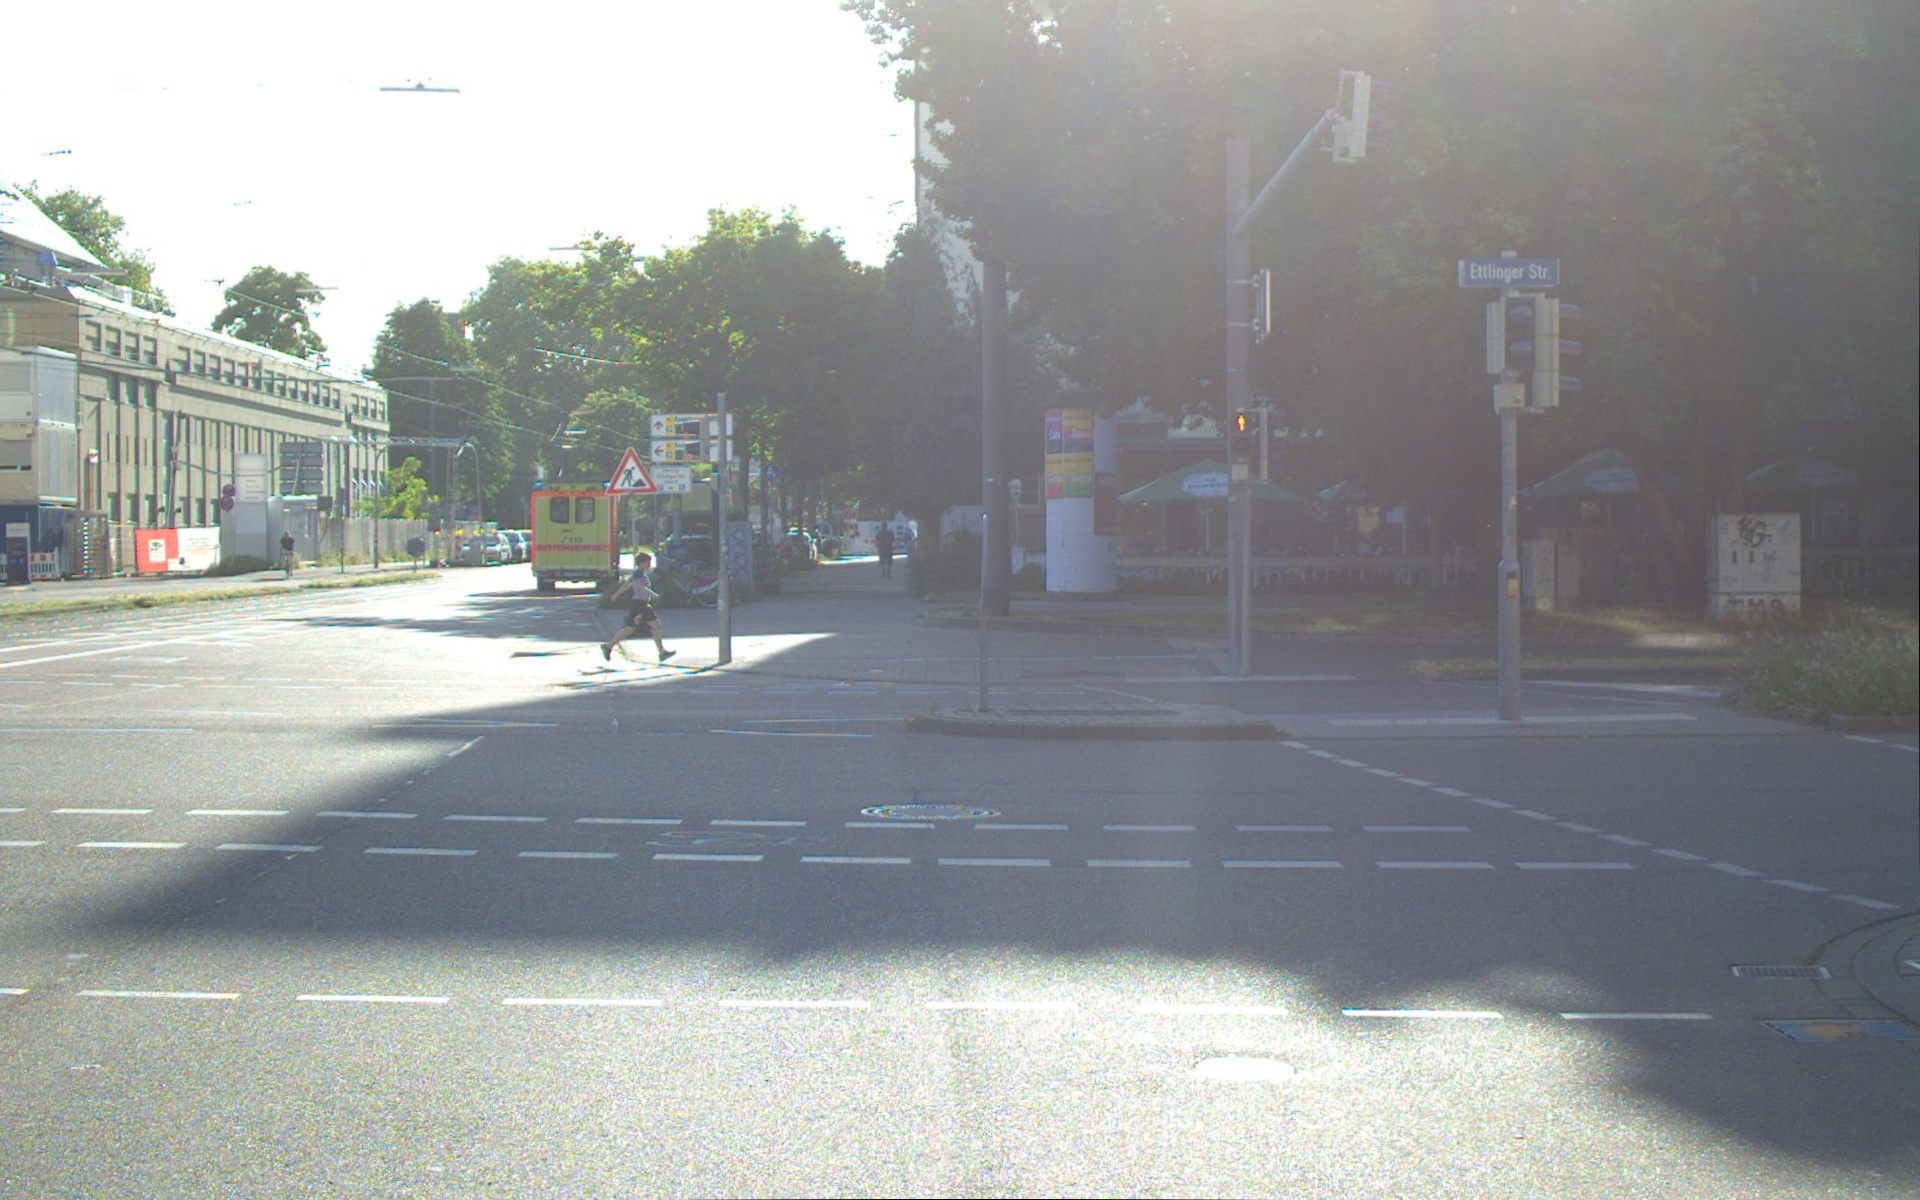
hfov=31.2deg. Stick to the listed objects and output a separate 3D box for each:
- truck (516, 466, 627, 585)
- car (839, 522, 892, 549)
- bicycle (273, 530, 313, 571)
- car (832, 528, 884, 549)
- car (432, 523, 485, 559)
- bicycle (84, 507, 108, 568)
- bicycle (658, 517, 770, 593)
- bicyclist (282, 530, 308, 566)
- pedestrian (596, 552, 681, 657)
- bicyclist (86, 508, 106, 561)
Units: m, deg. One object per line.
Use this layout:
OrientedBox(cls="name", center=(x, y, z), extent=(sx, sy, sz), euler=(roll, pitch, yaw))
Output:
OrientedBox(cls="truck", center=(-10.176, -1.953, 90.584), extent=(2.716, 3.005, 6.491), euler=(0, 1, -5))
OrientedBox(cls="car", center=(-5.872, -4.007, 213.478), extent=(3.214, 1.583, 1.446), euler=(1, 0, -4))
OrientedBox(cls="bicycle", center=(-24.687, -1.817, 127.227), extent=(0.690, 1.506, 2.944), euler=(1, 1, 4))
OrientedBox(cls="car", center=(-6.263, -3.771, 211.164), extent=(3.217, 1.259, 1.373), euler=(1, 0, -1))
OrientedBox(cls="car", center=(-22.812, -2.691, 156.540), extent=(1.894, 1.601, 4.501), euler=(-1, 1, -2))
OrientedBox(cls="bicycle", center=(-32.736, -2.355, 130.255), extent=(0.571, 2.288, 1.422), euler=(0, 1, -2))
OrientedBox(cls="bicycle", center=(-5.813, -1.061, 81.385), extent=(2.547, 1.737, 1.037), euler=(1, 0, 0))
OrientedBox(cls="bicyclist", center=(-24.639, -1.912, 127.296), extent=(0.690, 1.323, 1.000), euler=(1, 0, 4))
OrientedBox(cls="pedestrian", center=(-4.081, 0.046, 43.701), extent=(0.993, 1.313, 0.767), euler=(0, 1, 0))
OrientedBox(cls="bicyclist", center=(-32.734, -2.479, 130.206), extent=(0.571, 2.017, 0.762), euler=(0, 1, -2))
